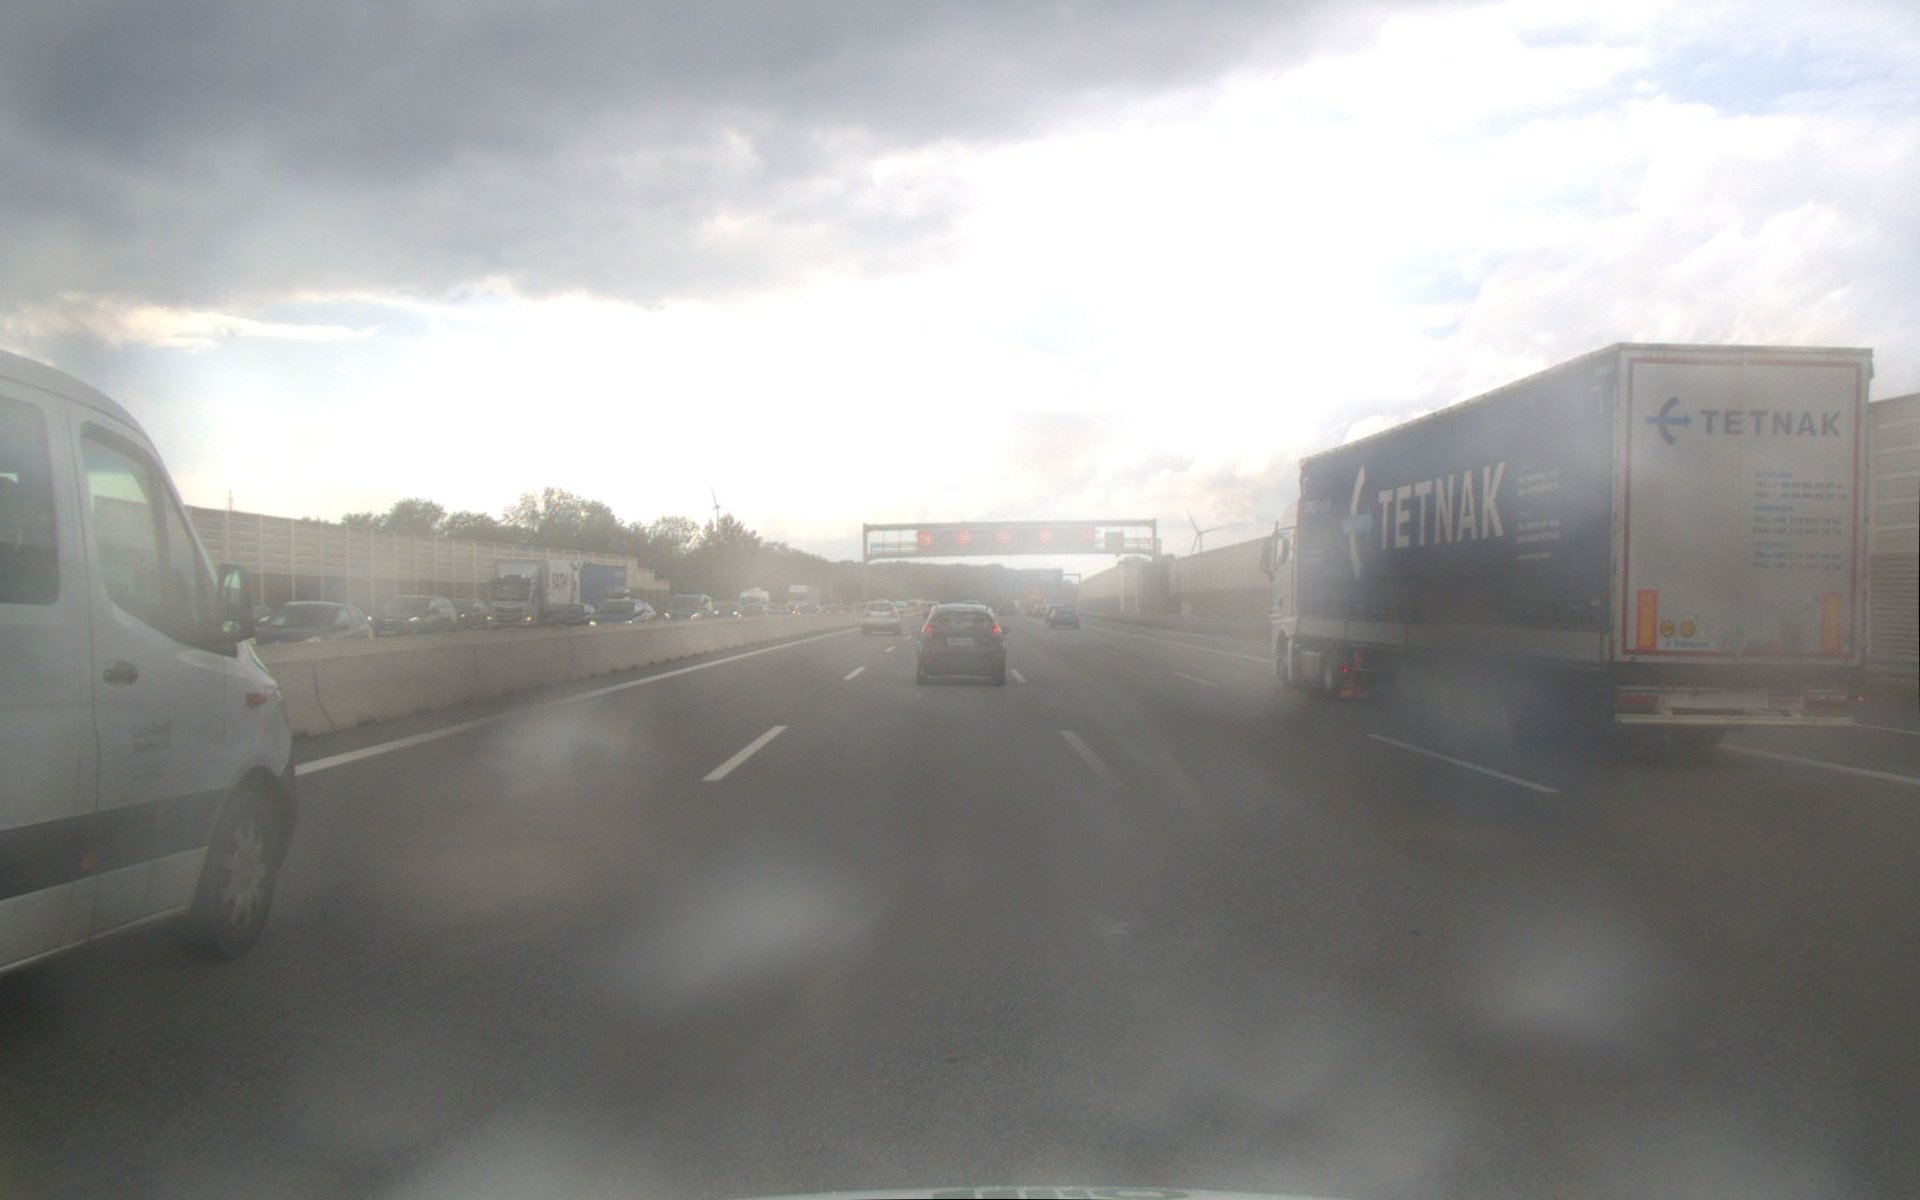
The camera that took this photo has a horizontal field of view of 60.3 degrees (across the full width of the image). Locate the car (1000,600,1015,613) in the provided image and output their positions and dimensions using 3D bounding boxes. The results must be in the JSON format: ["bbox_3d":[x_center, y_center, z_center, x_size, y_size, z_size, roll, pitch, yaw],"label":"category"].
[{"bbox_3d":[6.264,0.900,218.665,1.927,1.588,4.434,0,-1,2],"label":"car"}]

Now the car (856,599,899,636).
[{"bbox_3d":[-3.740,0.776,75.688,1.682,1.652,4.279,0,0,1],"label":"car"}]

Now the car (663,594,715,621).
[{"bbox_3d":[-13.900,0.346,85.010,1.835,1.322,5.599,0,0,-1],"label":"car"}]

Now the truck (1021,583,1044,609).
[{"bbox_3d":[10.446,-0.555,237.983,3.087,3.665,12.702,1,0,2],"label":"truck"}]

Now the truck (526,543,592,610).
[{"bbox_3d":[-25.146,-1.419,103.985,2.688,4.105,5.725,1,0,0],"label":"truck"}]

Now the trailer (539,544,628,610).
[{"bbox_3d":[-25.146,-1.419,111.198,2.705,4.102,14.451,1,0,0],"label":"trailer"}]

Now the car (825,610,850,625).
[{"bbox_3d":[-12.506,1.751,168.934,2.017,1.517,4.998,0,-1,2],"label":"car"}]

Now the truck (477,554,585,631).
[{"bbox_3d":[-21.642,-0.336,84.081,2.640,3.589,9.996,1,0,1],"label":"truck"}]

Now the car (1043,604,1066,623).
[{"bbox_3d":[8.124,1.200,142.315,1.843,1.569,4.433,0,-1,2],"label":"car"}]

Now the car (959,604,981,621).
[{"bbox_3d":[0.974,1.213,156.489,1.927,1.588,4.433,0,-1,2],"label":"car"}]

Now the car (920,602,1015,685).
[{"bbox_3d":[0.091,0.779,31.517,1.682,1.442,4.277,0,0,-1],"label":"car"}]

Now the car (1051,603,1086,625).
[{"bbox_3d":[7.038,0.921,107.233,1.910,1.443,4.231,0,-1,-1],"label":"car"}]

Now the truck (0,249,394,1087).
[{"bbox_3d":[-3.976,0.193,5.032,2.260,2.482,7.145,1,0,-2],"label":"truck"}]

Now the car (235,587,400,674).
[{"bbox_3d":[-13.631,0.615,35.369,1.916,1.729,4.409,0,0,-2],"label":"car"}]

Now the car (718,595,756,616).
[{"bbox_3d":[-16.703,0.407,124.056,2.017,1.517,4.998,0,-1,2],"label":"car"}]

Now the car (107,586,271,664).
[{"bbox_3d":[-18.151,0.545,39.183,1.916,1.729,4.409,0,0,-2],"label":"car"}]

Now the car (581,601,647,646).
[{"bbox_3d":[-13.946,0.935,66.894,1.835,1.729,4.221,0,0,-1],"label":"car"}]

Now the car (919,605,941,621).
[{"bbox_3d":[-3.029,1.318,166.680,1.927,1.588,4.433,0,-1,2],"label":"car"}]

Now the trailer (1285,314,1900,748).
[{"bbox_3d":[7.456,-0.632,22.964,2.705,4.102,14.448,1,0,-1],"label":"trailer"}]

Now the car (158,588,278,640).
[{"bbox_3d":[-26.203,0.465,58.644,2.019,1.729,5.087,0,0,-1],"label":"car"}]

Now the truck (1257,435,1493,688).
[{"bbox_3d":[7.302,-0.614,29.875,2.689,4.105,5.724,1,0,-1],"label":"truck"}]

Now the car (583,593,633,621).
[{"bbox_3d":[-21.379,0.447,100.656,2.018,1.628,4.997,0,-1,0],"label":"car"}]

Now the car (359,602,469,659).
[{"bbox_3d":[-17.708,0.944,53.880,2.019,1.729,5.086,0,0,-2],"label":"car"}]

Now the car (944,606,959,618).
[{"bbox_3d":[-1.131,1.636,227.234,1.927,1.588,4.433,0,-1,2],"label":"car"}]

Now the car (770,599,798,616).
[{"bbox_3d":[-16.535,0.704,155.577,2.017,1.517,4.998,0,-1,2],"label":"car"}]

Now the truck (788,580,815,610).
[{"bbox_3d":[-21.834,-0.632,228.051,2.910,4.105,5.727,0,0,2],"label":"truck"}]

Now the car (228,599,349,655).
[{"bbox_3d":[-21.755,0.836,53.826,2.019,1.729,5.086,0,0,-2],"label":"car"}]

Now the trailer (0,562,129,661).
[{"bbox_3d":[-25.774,0.279,45.808,2.409,2.539,6.085,0,0,0],"label":"trailer"}]

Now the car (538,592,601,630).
[{"bbox_3d":[-18.261,0.490,77.482,1.835,1.729,5.014,0,0,-1],"label":"car"}]

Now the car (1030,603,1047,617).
[{"bbox_3d":[8.864,1.161,187.779,1.843,1.588,4.433,0,-1,2],"label":"car"}]
